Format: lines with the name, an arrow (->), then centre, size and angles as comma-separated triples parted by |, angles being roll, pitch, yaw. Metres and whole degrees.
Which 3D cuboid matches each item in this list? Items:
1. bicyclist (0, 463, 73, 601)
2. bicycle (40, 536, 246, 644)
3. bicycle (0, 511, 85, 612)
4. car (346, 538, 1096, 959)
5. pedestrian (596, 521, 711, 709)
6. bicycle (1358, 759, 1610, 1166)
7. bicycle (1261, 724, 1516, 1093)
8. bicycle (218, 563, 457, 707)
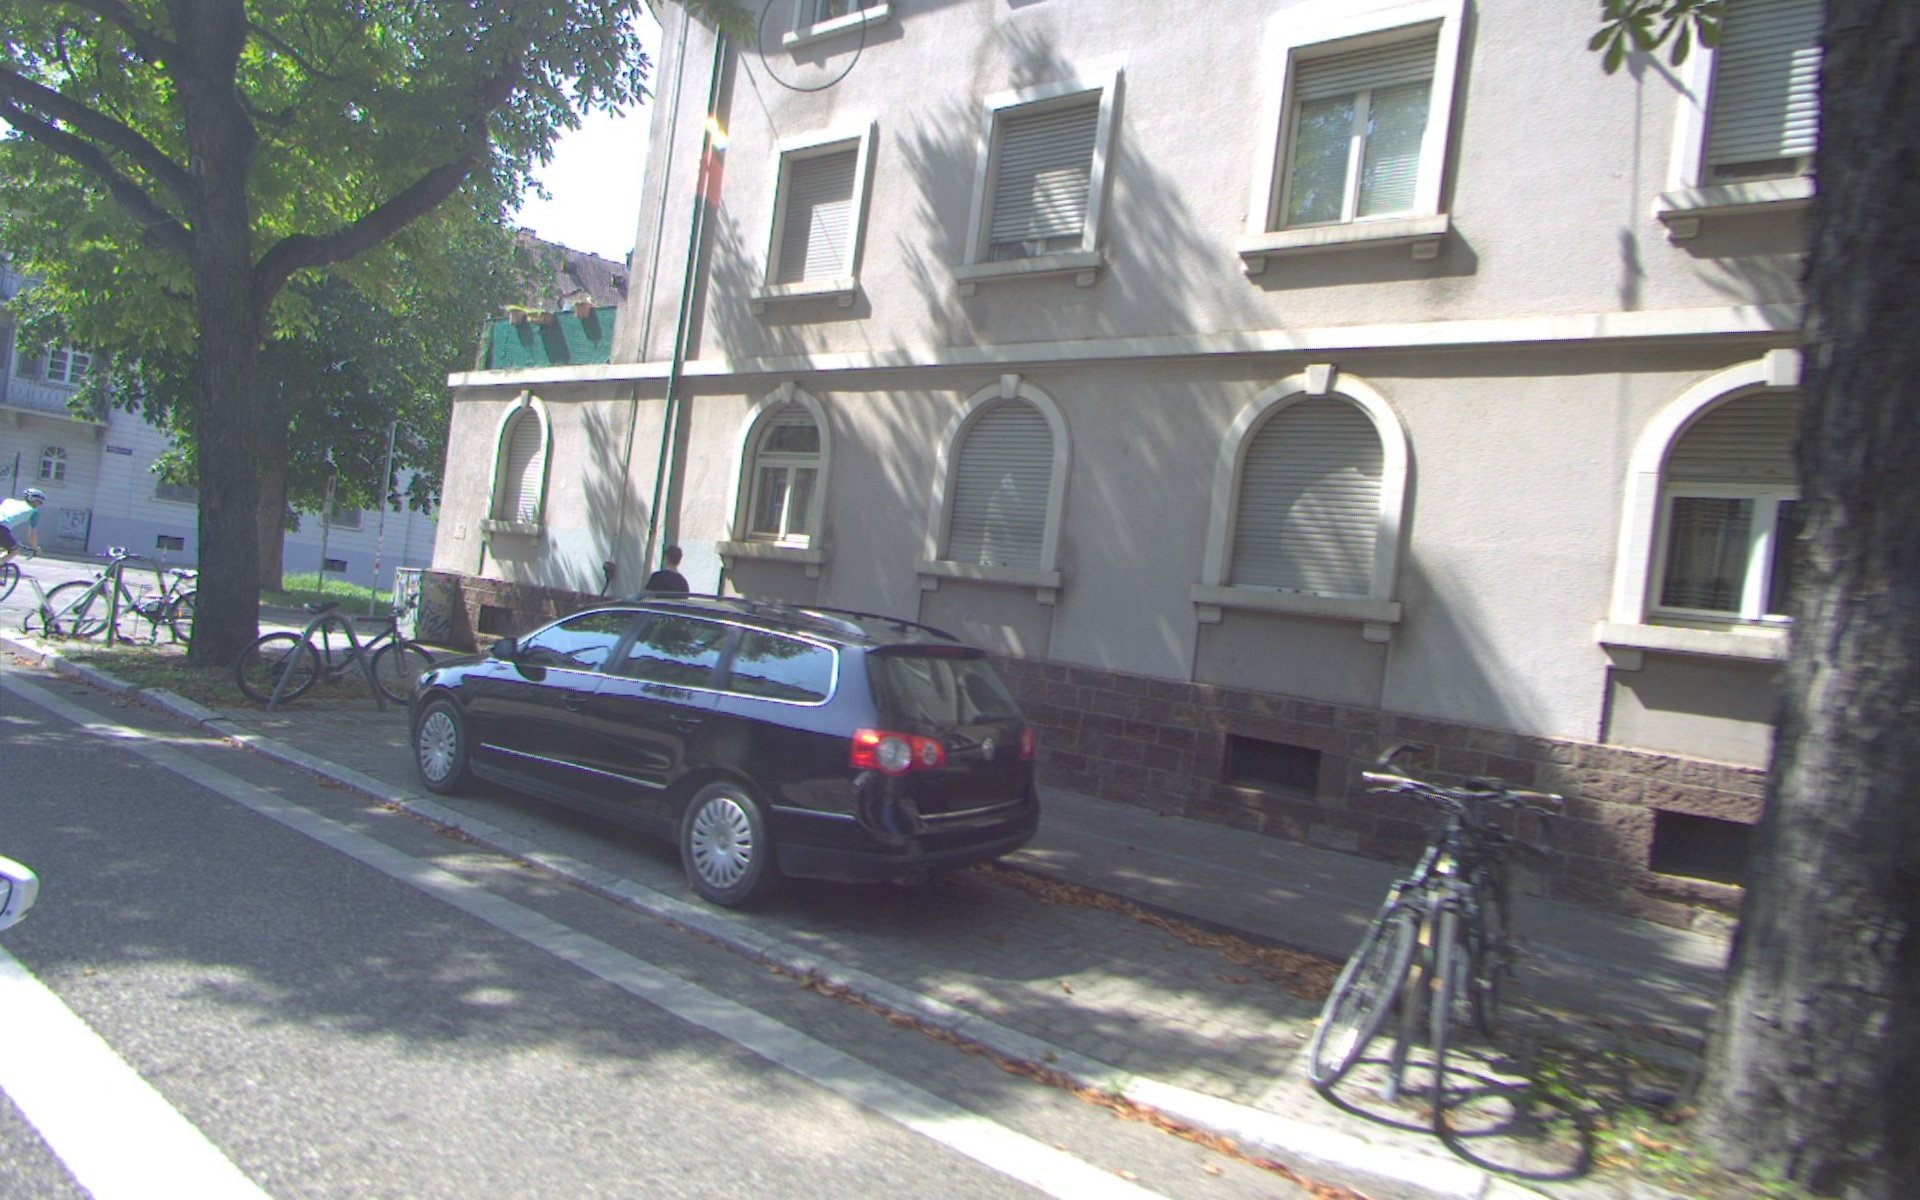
bicyclist -> -13.679, -0.992, 14.400 | 1.117, 1.858, 0.948 | 7, -1, -30
bicycle -> -9.537, -0.088, 11.811 | 0.557, 1.044, 1.715 | 7, -1, 34
bicycle -> -13.745, -0.613, 14.470 | 1.139, 1.284, 2.691 | 8, -1, -30
car -> -1.727, 0.636, 6.442 | 4.702, 1.551, 1.842 | 7, 0, 33
pedestrian -> -3.314, 0.170, 10.897 | 0.703, 1.914, 0.707 | 7, -1, 35
bicycle -> 1.994, 1.186, 3.709 | 0.393, 1.116, 1.605 | 7, -2, 39
bicycle -> 1.817, 1.127, 4.099 | 0.371, 1.163, 1.722 | 7, -2, 39
bicycle -> -5.585, 0.357, 9.132 | 0.371, 1.150, 1.722 | 7, -1, 39
